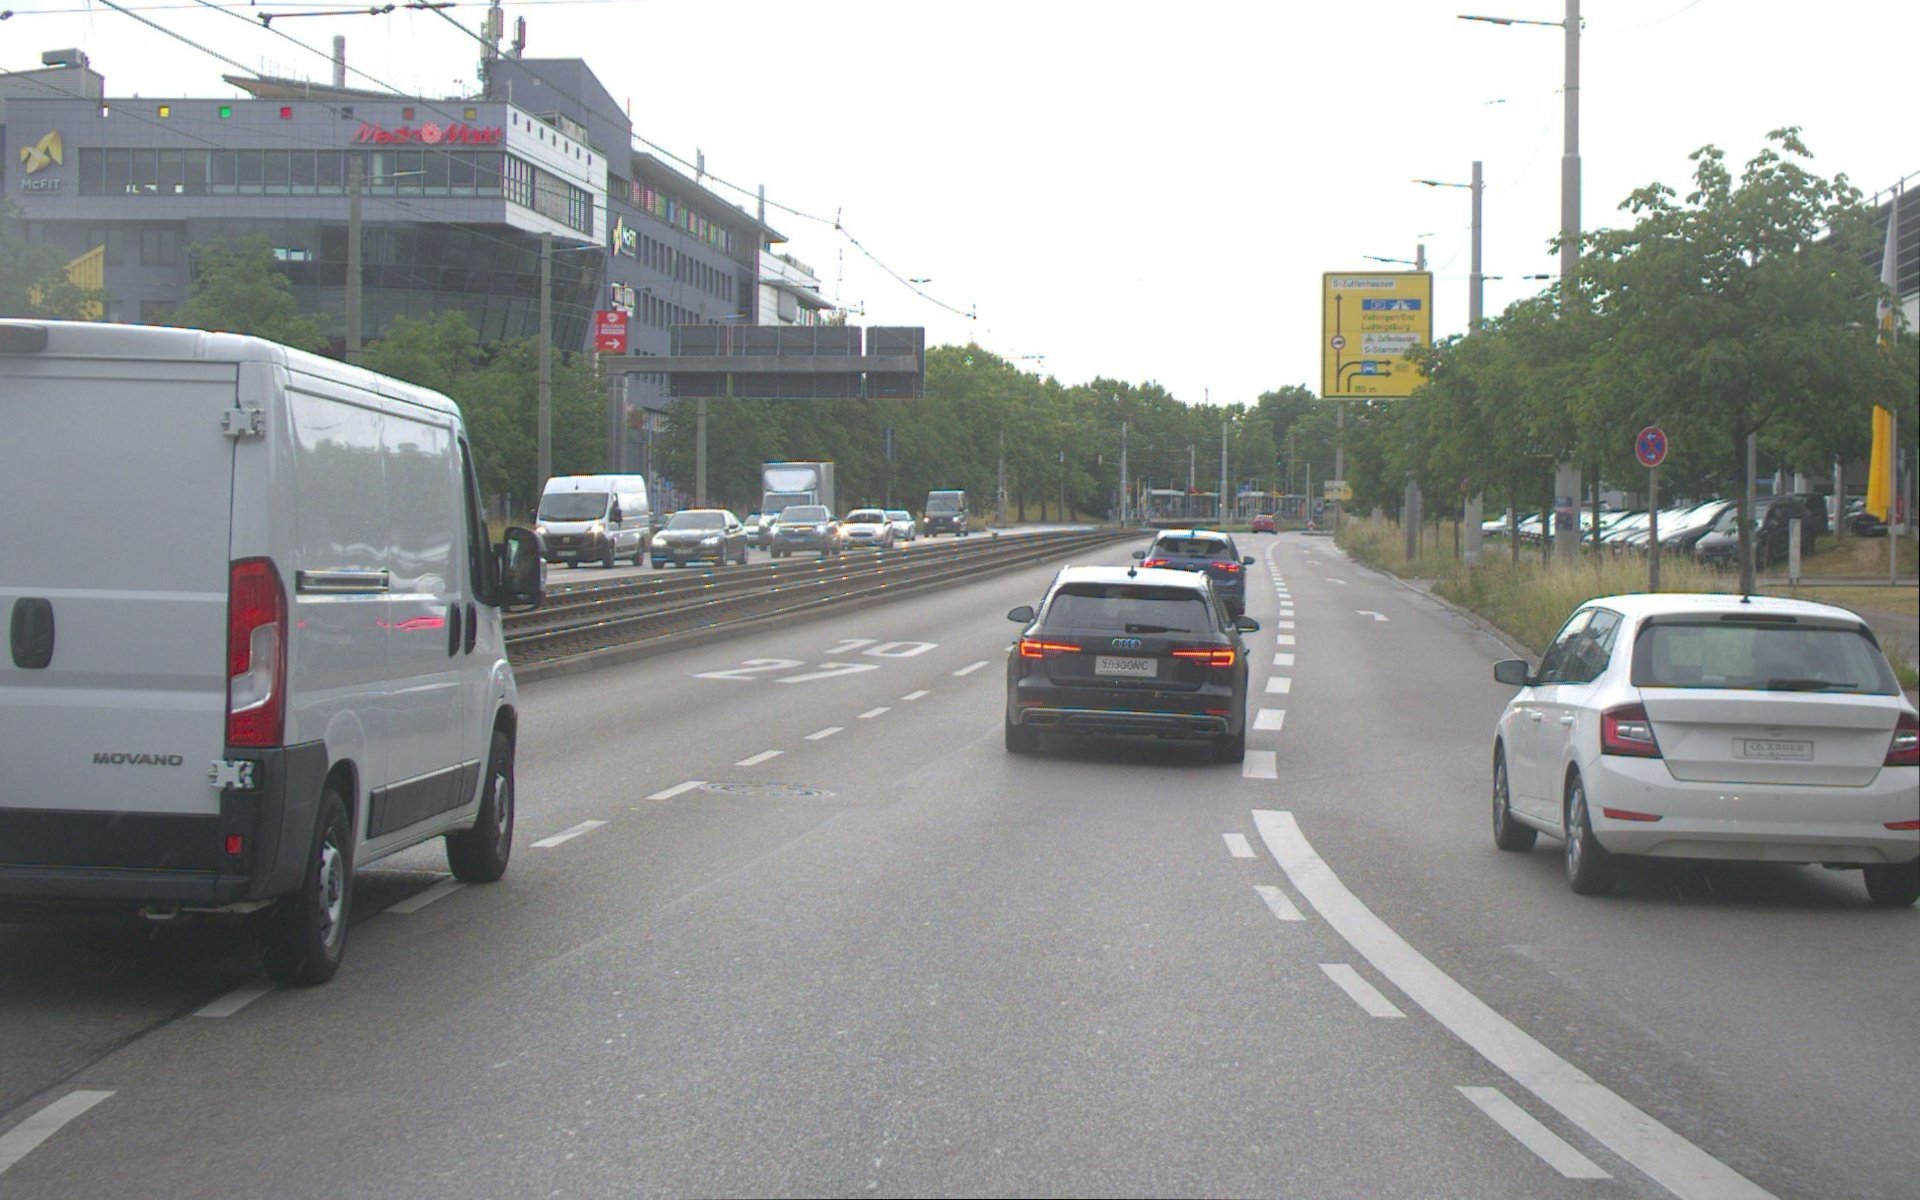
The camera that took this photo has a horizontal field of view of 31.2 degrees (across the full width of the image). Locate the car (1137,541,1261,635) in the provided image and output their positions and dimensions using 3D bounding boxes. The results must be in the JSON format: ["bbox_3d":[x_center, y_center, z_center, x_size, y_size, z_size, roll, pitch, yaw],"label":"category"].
[{"bbox_3d":[3.994,-0.228,56.910,1.894,1.460,3.908,1,1,6],"label":"car"}]

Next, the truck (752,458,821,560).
[{"bbox_3d":[-6.554,-3.457,130.435,2.158,3.633,6.875,3,2,-1],"label":"truck"}]

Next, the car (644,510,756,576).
[{"bbox_3d":[-6.657,-1.476,88.486,1.801,1.615,4.954,1,1,9],"label":"car"}]

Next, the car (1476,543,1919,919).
[{"bbox_3d":[3.824,0.566,17.633,1.829,1.650,4.000,2,1,2],"label":"car"}]

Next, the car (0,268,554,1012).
[{"bbox_3d":[-3.176,0.056,13.107,2.445,2.286,4.904,1,1,3],"label":"car"}]

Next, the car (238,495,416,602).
[{"bbox_3d":[-11.875,-0.977,64.777,1.801,1.921,4.801,1,1,9],"label":"car"}]

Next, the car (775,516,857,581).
[{"bbox_3d":[-4.535,-1.654,108.931,2.159,1.879,4.301,3,2,3],"label":"car"}]

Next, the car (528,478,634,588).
[{"bbox_3d":[-9.949,-1.790,90.652,2.158,2.713,5.068,3,2,-1],"label":"car"}]

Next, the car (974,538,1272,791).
[{"bbox_3d":[1.173,0.427,26.539,1.993,1.631,4.000,4,2,0],"label":"car"}]
